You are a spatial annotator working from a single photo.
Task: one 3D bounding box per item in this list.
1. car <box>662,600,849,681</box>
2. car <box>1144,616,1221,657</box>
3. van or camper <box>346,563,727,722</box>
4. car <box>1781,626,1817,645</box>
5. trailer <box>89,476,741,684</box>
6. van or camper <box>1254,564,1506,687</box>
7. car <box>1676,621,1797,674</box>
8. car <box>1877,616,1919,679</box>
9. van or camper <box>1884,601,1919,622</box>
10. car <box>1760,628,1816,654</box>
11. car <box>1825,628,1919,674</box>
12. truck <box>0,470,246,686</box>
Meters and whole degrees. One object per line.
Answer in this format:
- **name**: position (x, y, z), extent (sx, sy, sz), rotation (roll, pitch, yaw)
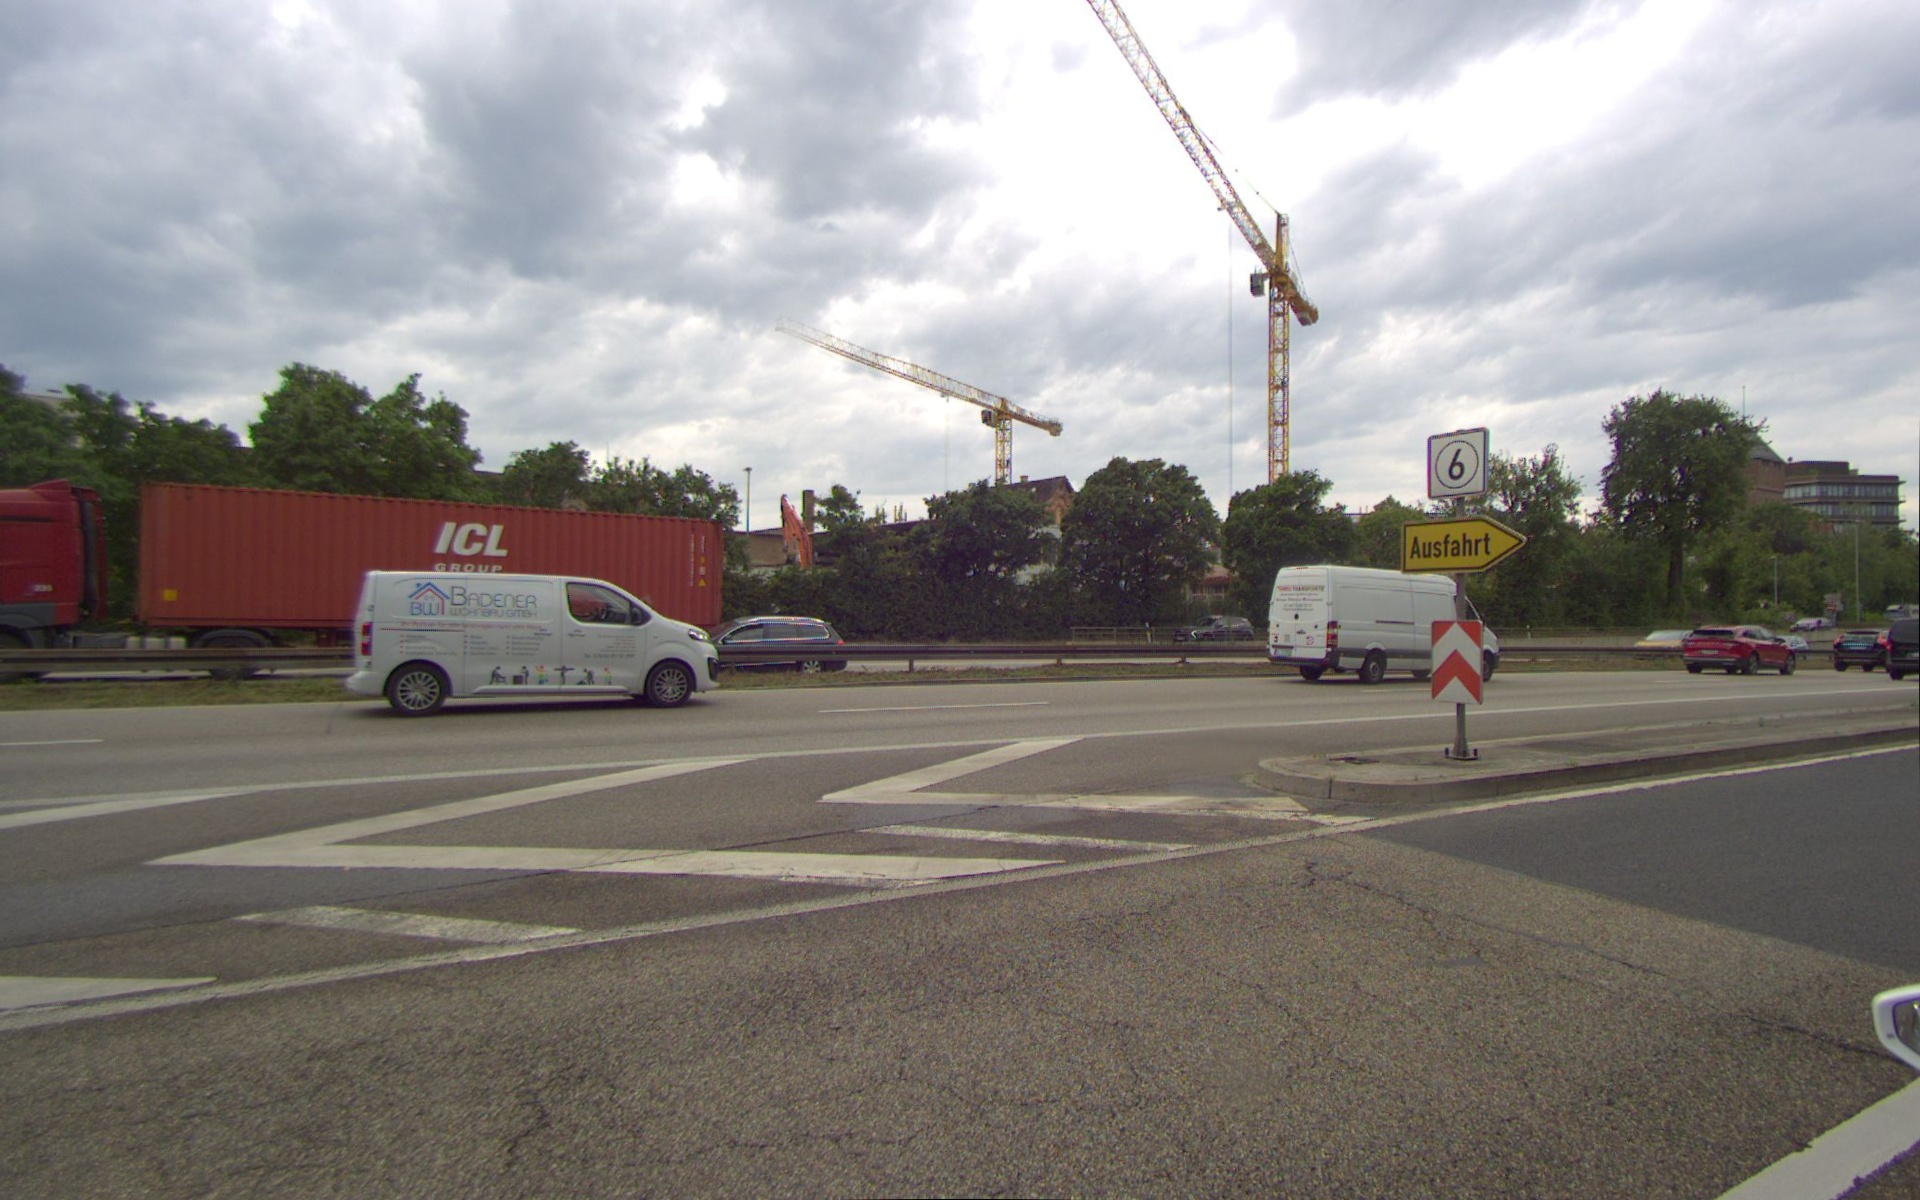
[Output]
- **car**: position (-4.764, 0.915, 23.538), extent (3.954, 1.742, 1.765), rotation (1, -1, -31)
- **car**: position (10.689, 1.745, 48.288), extent (3.580, 1.863, 1.547), rotation (1, -1, -32)
- **van or camper**: position (-5.990, 0.578, 14.454), extent (4.796, 1.945, 1.910), rotation (1, -1, -32)
- **car**: position (71.441, 3.008, 85.502), extent (3.331, 1.545, 1.340), rotation (1, -1, -31)
- **trailer**: position (-12.184, -0.269, 24.425), extent (13.197, 4.118, 2.751), rotation (1, -1, -31)
- **van or camper**: position (10.344, 0.629, 24.475), extent (6.877, 2.656, 2.039), rotation (1, -1, -31)
- **car**: position (26.017, 1.549, 33.629), extent (4.216, 1.657, 1.743), rotation (1, 0, -30)
- **car**: position (30.604, 1.457, 31.170), extent (4.758, 1.876, 1.983), rotation (1, -1, -32)
- **van or camper**: position (127.426, 1.561, 134.192), extent (5.549, 2.672, 1.922), rotation (2, 1, 16)
- **car**: position (50.664, 2.489, 61.430), extent (3.584, 1.510, 1.589), rotation (1, -1, -31)
- **car**: position (36.539, 1.988, 40.074), extent (4.258, 1.704, 1.880), rotation (1, -1, -32)
- **truck**: position (-18.042, -0.388, 20.931), extent (4.850, 4.118, 2.750), rotation (1, -1, -31)
